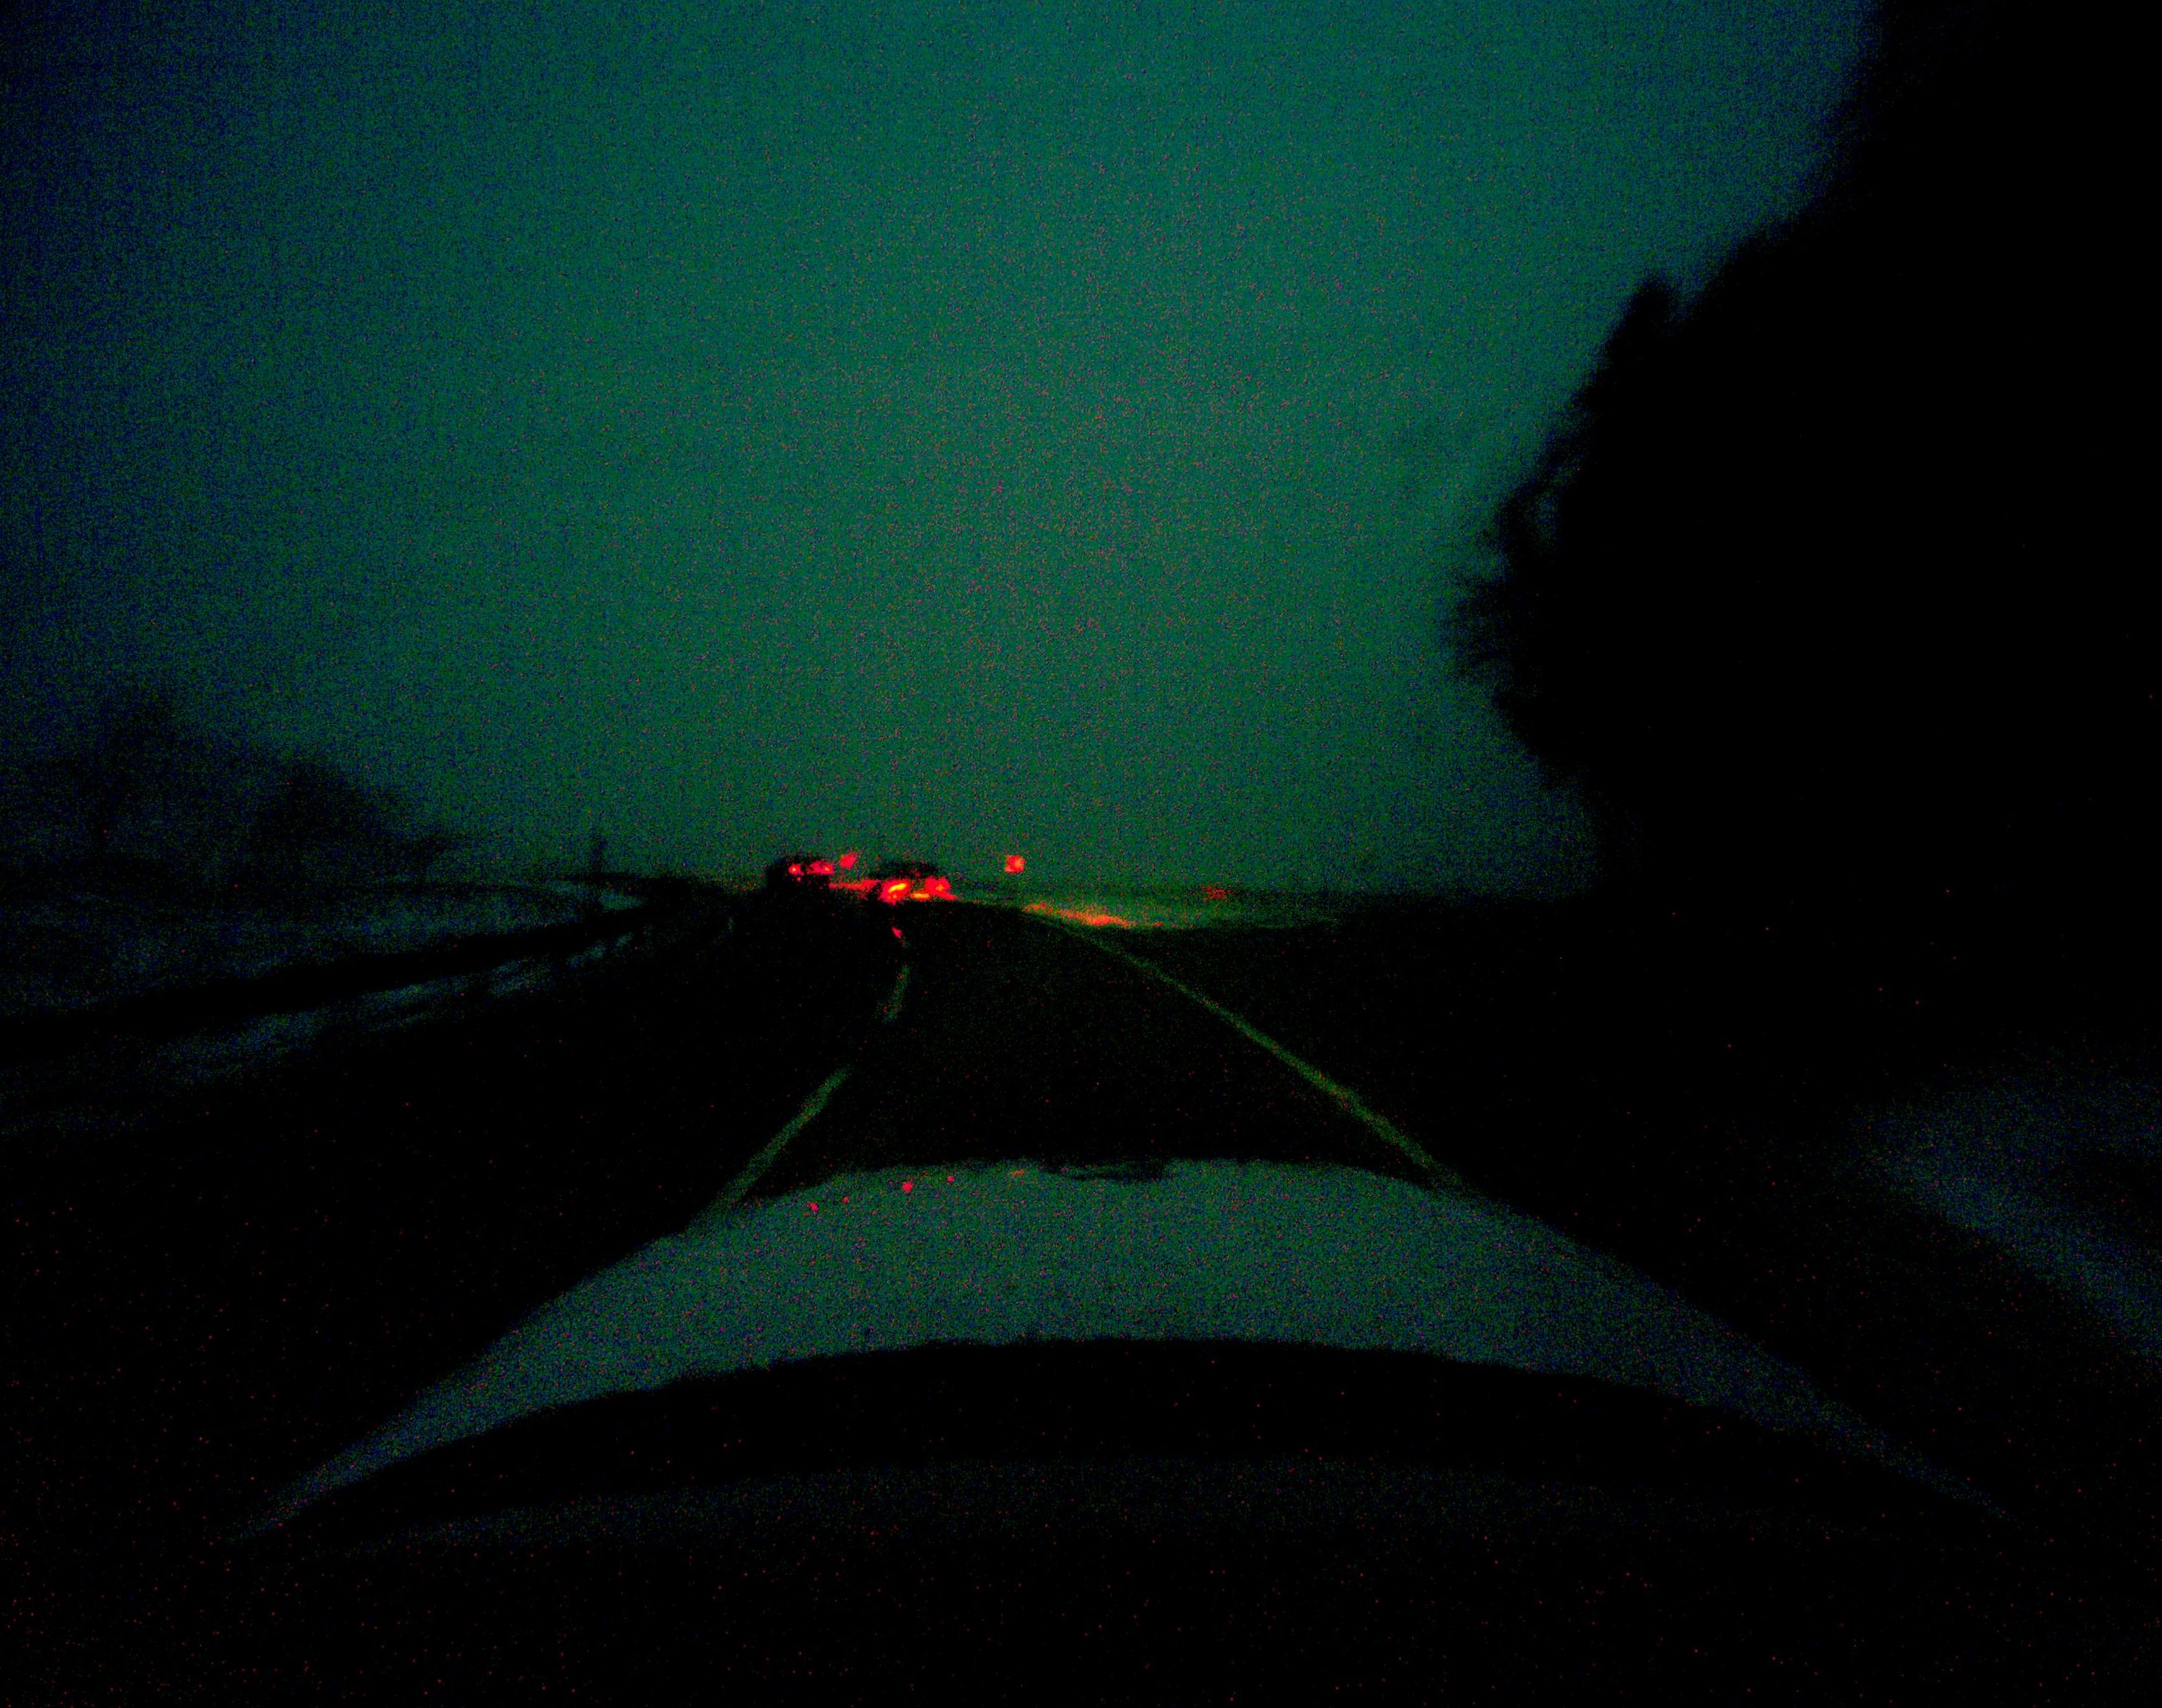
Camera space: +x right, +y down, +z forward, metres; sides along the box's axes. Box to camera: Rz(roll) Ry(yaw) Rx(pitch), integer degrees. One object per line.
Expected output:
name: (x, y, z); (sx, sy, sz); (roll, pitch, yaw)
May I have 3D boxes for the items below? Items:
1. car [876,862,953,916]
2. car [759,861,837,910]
car: (-4.963, 0.960, 23.899); (1.949, 1.381, 3.979); (-1, 0, -16)
car: (-11.609, 1.255, 33.250); (2.008, 1.783, 3.957); (-2, 0, -34)
